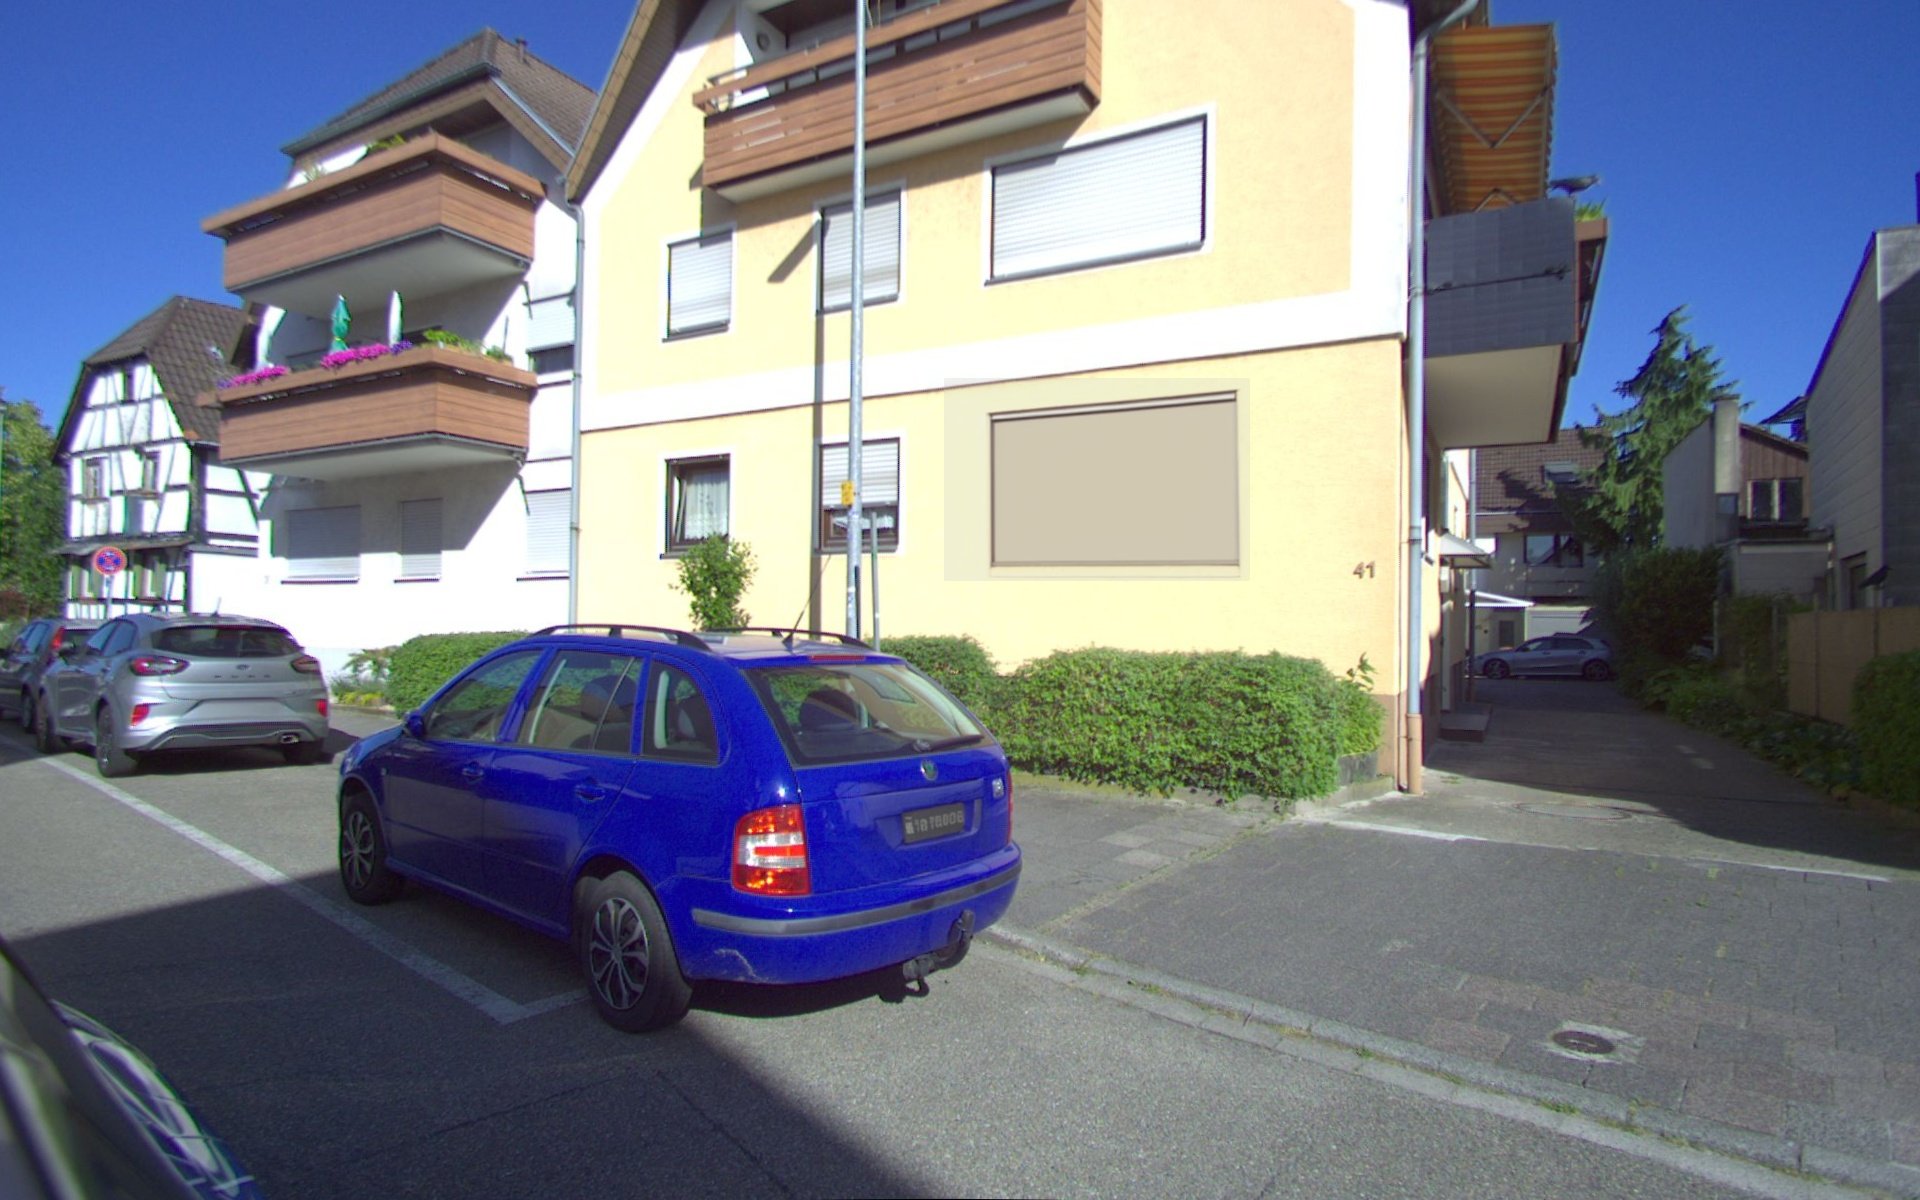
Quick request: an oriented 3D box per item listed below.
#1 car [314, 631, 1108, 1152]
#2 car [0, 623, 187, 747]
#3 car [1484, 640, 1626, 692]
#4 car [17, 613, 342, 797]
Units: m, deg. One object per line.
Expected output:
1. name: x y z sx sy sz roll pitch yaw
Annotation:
1. car: -1.420 0.888 4.758 3.953 1.450 1.602 -1 -3 40
2. car: -12.217 1.083 13.950 3.611 1.488 1.608 -1 -3 38
3. car: 18.002 1.973 30.823 3.603 1.445 1.583 0 -2 28
4. car: -8.247 0.966 10.584 3.995 1.568 1.742 -1 -3 38
